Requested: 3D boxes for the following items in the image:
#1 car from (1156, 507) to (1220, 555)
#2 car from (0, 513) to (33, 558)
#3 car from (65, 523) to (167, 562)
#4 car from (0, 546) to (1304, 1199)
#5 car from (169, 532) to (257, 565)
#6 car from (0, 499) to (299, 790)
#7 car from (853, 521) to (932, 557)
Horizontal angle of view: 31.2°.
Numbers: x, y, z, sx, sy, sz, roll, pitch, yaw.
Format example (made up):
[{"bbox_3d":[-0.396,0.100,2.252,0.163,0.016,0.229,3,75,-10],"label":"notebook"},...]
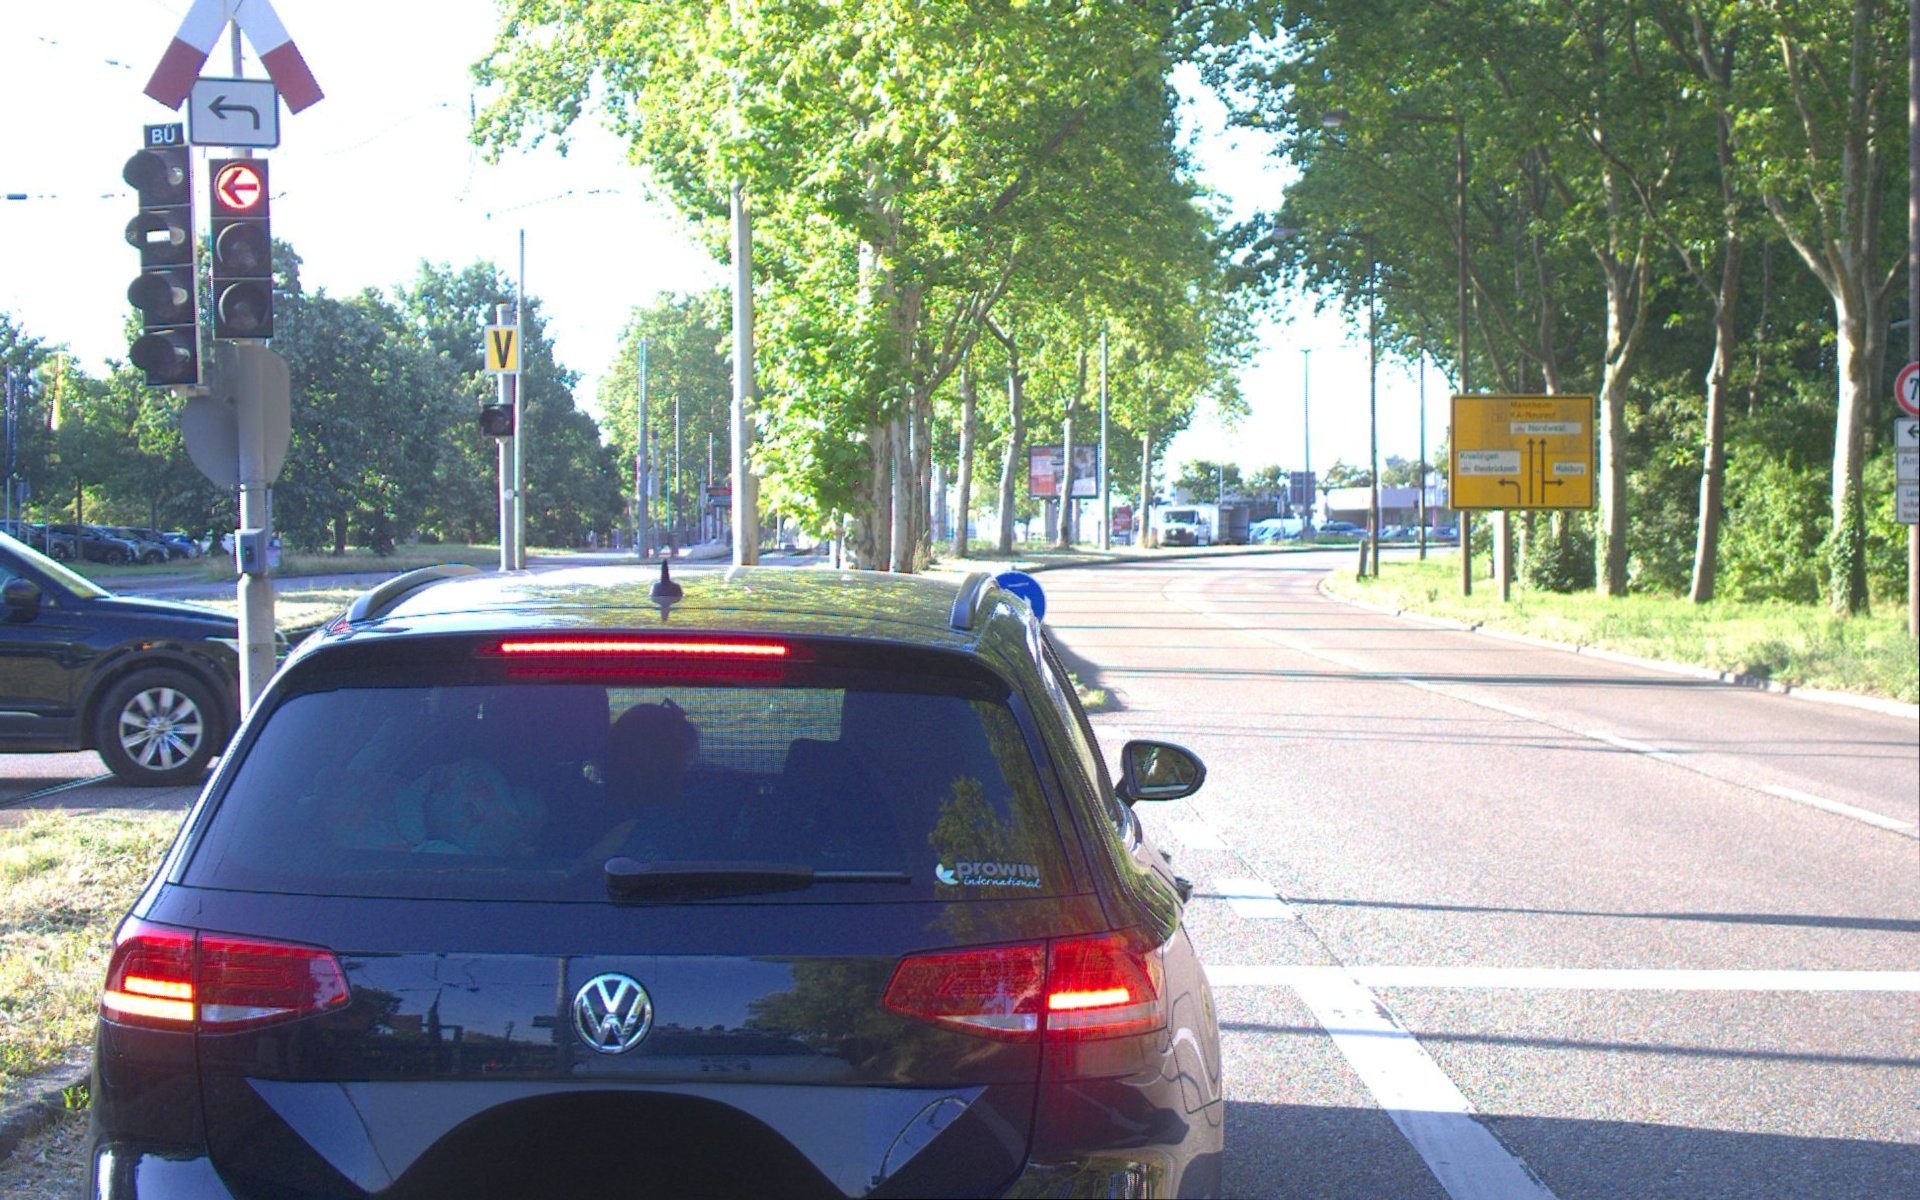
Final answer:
[{"bbox_3d":[12.087,-3.653,181.890,2.097,2.453,5.848,1,1,17],"label":"car"},{"bbox_3d":[-35.909,-2.355,125.019,3.986,1.615,1.744,1,1,-5],"label":"car"},{"bbox_3d":[-35.816,-2.445,145.924,3.986,1.615,1.744,1,1,-5],"label":"car"},{"bbox_3d":[-0.475,0.644,6.427,1.795,1.459,3.583,1,1,-1],"label":"car"},{"bbox_3d":[-36.500,-2.534,168.000,3.986,1.550,1.744,1,1,-4],"label":"car"},{"bbox_3d":[-6.140,0.241,20.134,4.354,1.629,1.879,-1,1,-13],"label":"car"},{"bbox_3d":[-2.857,-2.573,145.431,1.864,1.476,4.087,1,1,22],"label":"car"}]
